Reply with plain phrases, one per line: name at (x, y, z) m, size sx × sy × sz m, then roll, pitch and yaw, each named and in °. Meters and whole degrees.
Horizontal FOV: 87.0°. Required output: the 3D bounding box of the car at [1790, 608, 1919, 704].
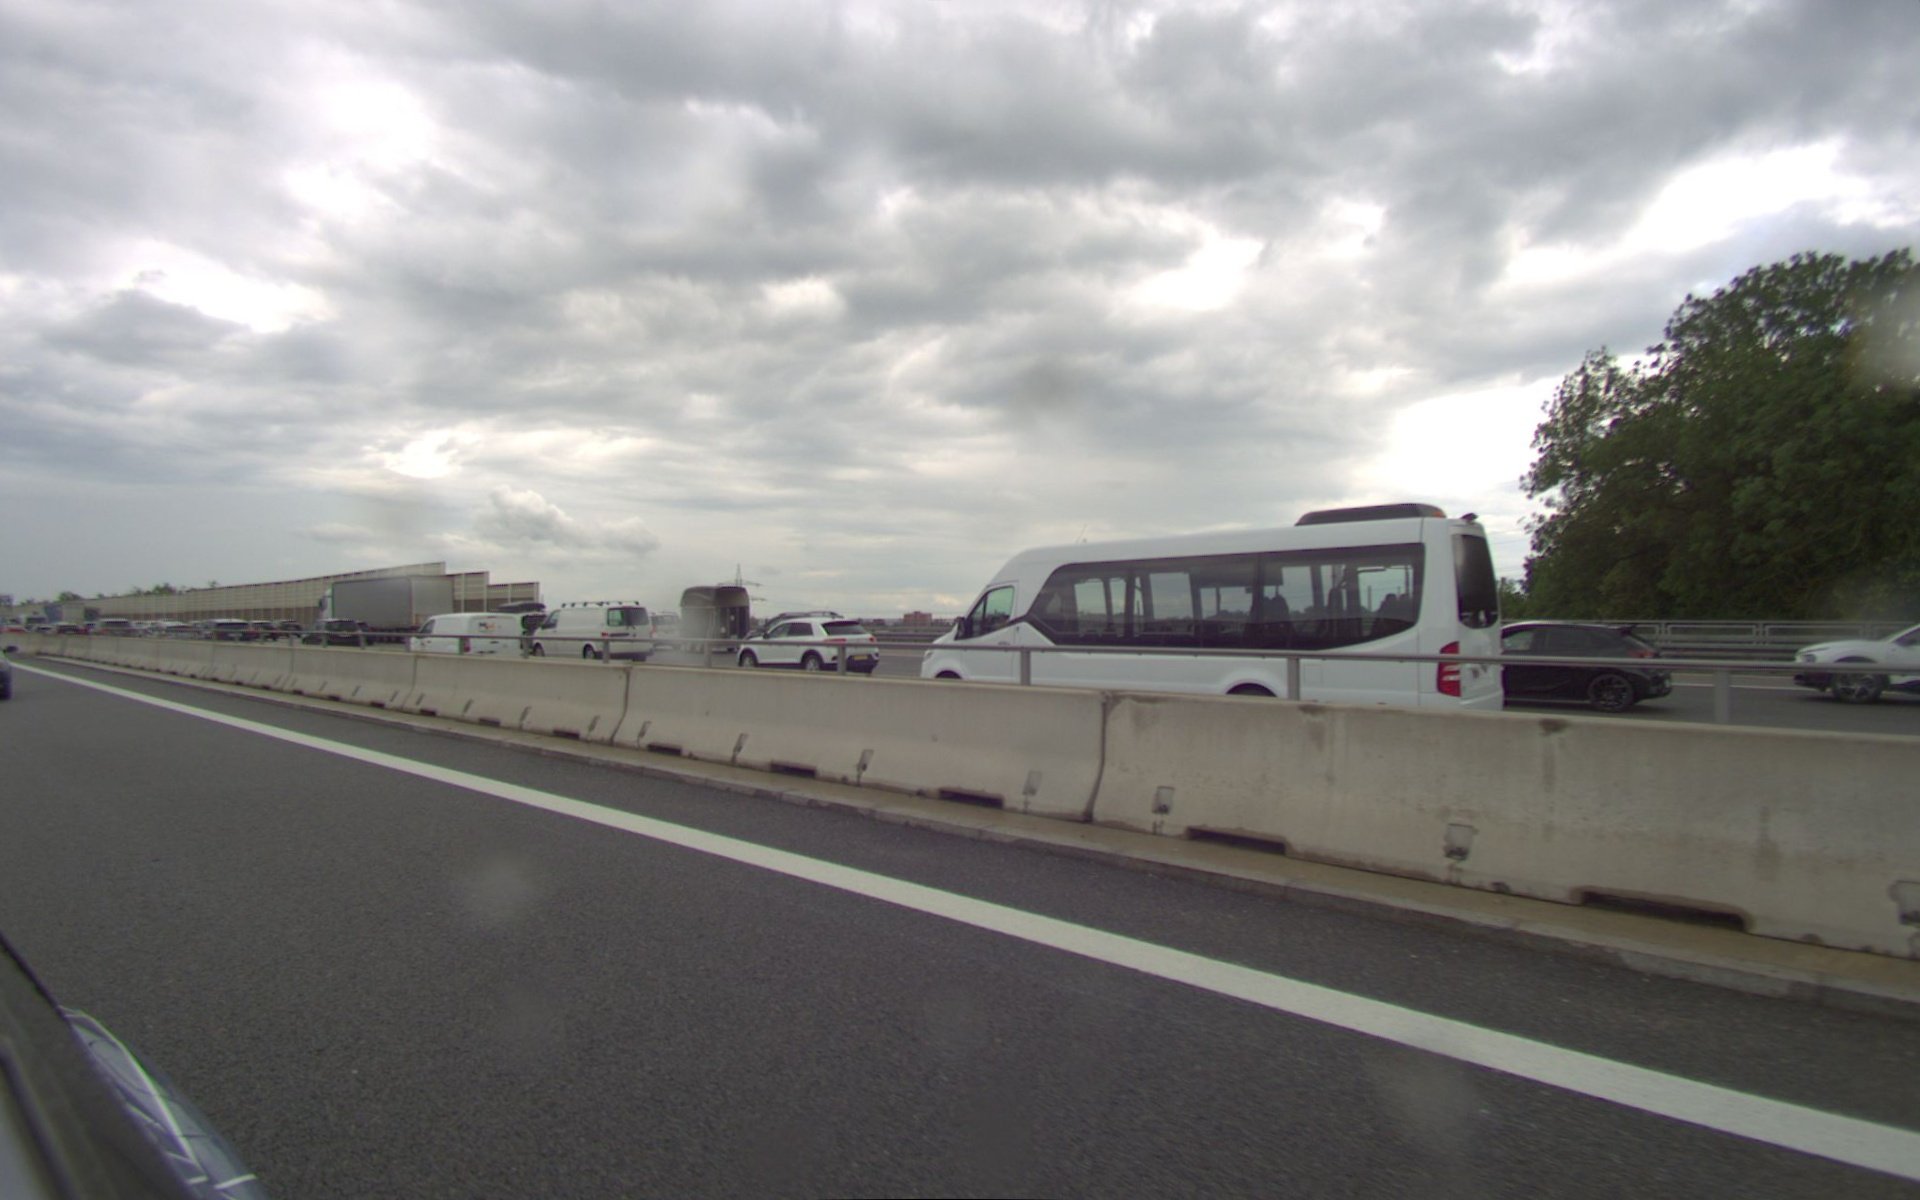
car at (16.267, 0.891, 16.174) m, size 4.520 × 1.475 × 1.704 m, roll -1°, pitch 1°, yaw 44°

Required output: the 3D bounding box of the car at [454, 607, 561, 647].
car at (-20.085, 1.182, 44.779) m, size 6.119 × 1.658 × 2.038 m, roll -1°, pitch -1°, yaw 42°

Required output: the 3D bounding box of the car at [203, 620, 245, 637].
car at (-67.591, 2.587, 92.925) m, size 5.469 × 1.546 × 2.038 m, roll -1°, pitch -1°, yaw 42°

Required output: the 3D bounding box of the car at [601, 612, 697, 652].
car at (-13.676, 1.386, 44.396) m, size 4.518 × 1.658 × 2.038 m, roll -1°, pitch -1°, yaw 42°

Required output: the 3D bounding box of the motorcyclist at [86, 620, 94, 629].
motorcyclist at (-113.137, 3.205, 131.646) m, size 0.796 × 1.233 × 0.630 m, roll -2°, pitch 0°, yaw 41°

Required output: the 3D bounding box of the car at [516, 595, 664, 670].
car at (-12.171, 1.019, 33.045) m, size 5.893 × 2.253 × 2.038 m, roll -1°, pitch -1°, yaw 42°

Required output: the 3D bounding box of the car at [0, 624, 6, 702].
car at (-19.489, 1.193, 19.306) m, size 3.999 × 1.413 × 1.558 m, roll -2°, pitch -1°, yaw 42°

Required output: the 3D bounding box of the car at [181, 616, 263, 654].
car at (-34.513, 1.607, 47.281) m, size 5.378 × 1.658 × 2.038 m, roll -1°, pitch -1°, yaw 42°

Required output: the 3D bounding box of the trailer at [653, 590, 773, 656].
trailer at (-10.083, 0.926, 41.082) m, size 5.227 × 2.503 × 2.176 m, roll -2°, pitch -1°, yaw 42°

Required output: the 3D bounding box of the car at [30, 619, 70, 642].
car at (-77.838, 2.600, 86.513) m, size 4.996 × 1.894 × 2.038 m, roll -1°, pitch -1°, yaw 42°

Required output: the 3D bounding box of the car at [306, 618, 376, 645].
car at (-36.317, 1.816, 59.337) m, size 5.469 × 1.546 × 2.038 m, roll -1°, pitch -1°, yaw 42°

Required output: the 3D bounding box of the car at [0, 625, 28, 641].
car at (-93.512, 3.197, 99.680) m, size 4.996 × 1.502 × 2.038 m, roll -1°, pitch -1°, yaw 42°

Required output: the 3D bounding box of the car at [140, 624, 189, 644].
car at (-57.877, 2.445, 73.593) m, size 4.522 × 1.427 × 2.038 m, roll -1°, pitch -1°, yaw 42°

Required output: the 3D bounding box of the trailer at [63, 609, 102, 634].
trailer at (-148.615, 3.737, 171.299) m, size 13.849 × 4.062 × 2.906 m, roll -2°, pitch -1°, yaw 40°

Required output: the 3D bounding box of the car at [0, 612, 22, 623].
car at (-138.900, 2.613, 147.949) m, size 4.993 × 1.612 × 2.039 m, roll -1°, pitch -1°, yaw 40°

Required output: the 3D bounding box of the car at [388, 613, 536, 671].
car at (-14.689, 1.182, 29.709) m, size 5.469 × 1.546 × 2.038 m, roll -1°, pitch -1°, yaw 42°

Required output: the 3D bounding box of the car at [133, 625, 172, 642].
car at (-74.257, 3.042, 93.008) m, size 4.996 × 1.502 × 2.038 m, roll -1°, pitch -1°, yaw 42°

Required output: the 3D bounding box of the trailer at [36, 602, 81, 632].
trailer at (-128.423, 2.487, 144.043) m, size 14.440 × 4.062 × 2.733 m, roll -2°, pitch -1°, yaw 40°

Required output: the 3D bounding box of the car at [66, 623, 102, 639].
car at (-83.436, 2.950, 96.372) m, size 4.996 × 1.502 × 2.038 m, roll -1°, pitch -1°, yaw 42°

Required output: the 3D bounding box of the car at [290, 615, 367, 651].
car at (-30.786, 1.581, 49.281) m, size 4.518 × 1.658 × 2.038 m, roll -1°, pitch -1°, yaw 42°

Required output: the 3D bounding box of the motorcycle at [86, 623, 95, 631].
motorcycle at (-113.017, 3.552, 131.506) m, size 2.429 × 1.015 × 0.512 m, roll -2°, pitch 0°, yaw 41°

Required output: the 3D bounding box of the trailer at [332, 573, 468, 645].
trailer at (-35.469, 0.672, 63.630) m, size 14.448 × 4.062 × 2.900 m, roll -2°, pitch -1°, yaw 42°

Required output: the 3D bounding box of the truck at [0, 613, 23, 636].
truck at (-153.884, 4.005, 163.513) m, size 9.990 × 3.554 × 2.668 m, roll -2°, pitch 0°, yaw 41°

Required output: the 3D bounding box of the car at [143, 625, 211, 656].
car at (-43.174, 2.192, 55.759) m, size 5.469 × 1.546 × 2.038 m, roll -1°, pitch -1°, yaw 42°

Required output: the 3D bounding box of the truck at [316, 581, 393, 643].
truck at (-41.117, 0.834, 68.716) m, size 5.724 × 4.065 × 2.940 m, roll -2°, pitch -1°, yaw 42°

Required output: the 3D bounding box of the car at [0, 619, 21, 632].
car at (-118.281, 3.160, 125.717) m, size 4.996 × 1.502 × 2.038 m, roll -1°, pitch -1°, yaw 42°

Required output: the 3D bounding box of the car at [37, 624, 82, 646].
car at (-68.863, 2.643, 77.376) m, size 4.996 × 1.546 × 2.038 m, roll -1°, pitch -1°, yaw 42°

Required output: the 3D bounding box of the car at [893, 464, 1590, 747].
car at (3.046, 0.221, 13.862) m, size 9.163 × 2.770 × 2.206 m, roll -3°, pitch -2°, yaw 43°

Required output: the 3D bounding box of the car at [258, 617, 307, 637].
car at (-54.361, 2.169, 81.154) m, size 5.469 × 1.546 × 2.038 m, roll -1°, pitch -1°, yaw 42°

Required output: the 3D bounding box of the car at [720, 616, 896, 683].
car at (-3.944, 1.195, 25.763) m, size 4.518 × 1.546 × 2.038 m, roll -1°, pitch -1°, yaw 42°

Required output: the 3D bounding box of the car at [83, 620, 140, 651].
car at (-56.293, 2.315, 67.093) m, size 6.326 × 1.894 × 2.038 m, roll -1°, pitch -1°, yaw 42°

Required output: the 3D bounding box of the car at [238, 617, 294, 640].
car at (-49.541, 2.027, 72.202) m, size 5.469 × 1.546 × 2.038 m, roll -1°, pitch -1°, yaw 42°

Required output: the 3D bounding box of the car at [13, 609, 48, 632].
car at (-107.880, 2.337, 117.410) m, size 7.085 × 2.569 × 2.358 m, roll -1°, pitch -1°, yaw 42°

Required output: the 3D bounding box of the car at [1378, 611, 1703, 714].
car at (9.737, 0.950, 17.236) m, size 4.520 × 1.475 × 1.704 m, roll -1°, pitch 1°, yaw 44°
